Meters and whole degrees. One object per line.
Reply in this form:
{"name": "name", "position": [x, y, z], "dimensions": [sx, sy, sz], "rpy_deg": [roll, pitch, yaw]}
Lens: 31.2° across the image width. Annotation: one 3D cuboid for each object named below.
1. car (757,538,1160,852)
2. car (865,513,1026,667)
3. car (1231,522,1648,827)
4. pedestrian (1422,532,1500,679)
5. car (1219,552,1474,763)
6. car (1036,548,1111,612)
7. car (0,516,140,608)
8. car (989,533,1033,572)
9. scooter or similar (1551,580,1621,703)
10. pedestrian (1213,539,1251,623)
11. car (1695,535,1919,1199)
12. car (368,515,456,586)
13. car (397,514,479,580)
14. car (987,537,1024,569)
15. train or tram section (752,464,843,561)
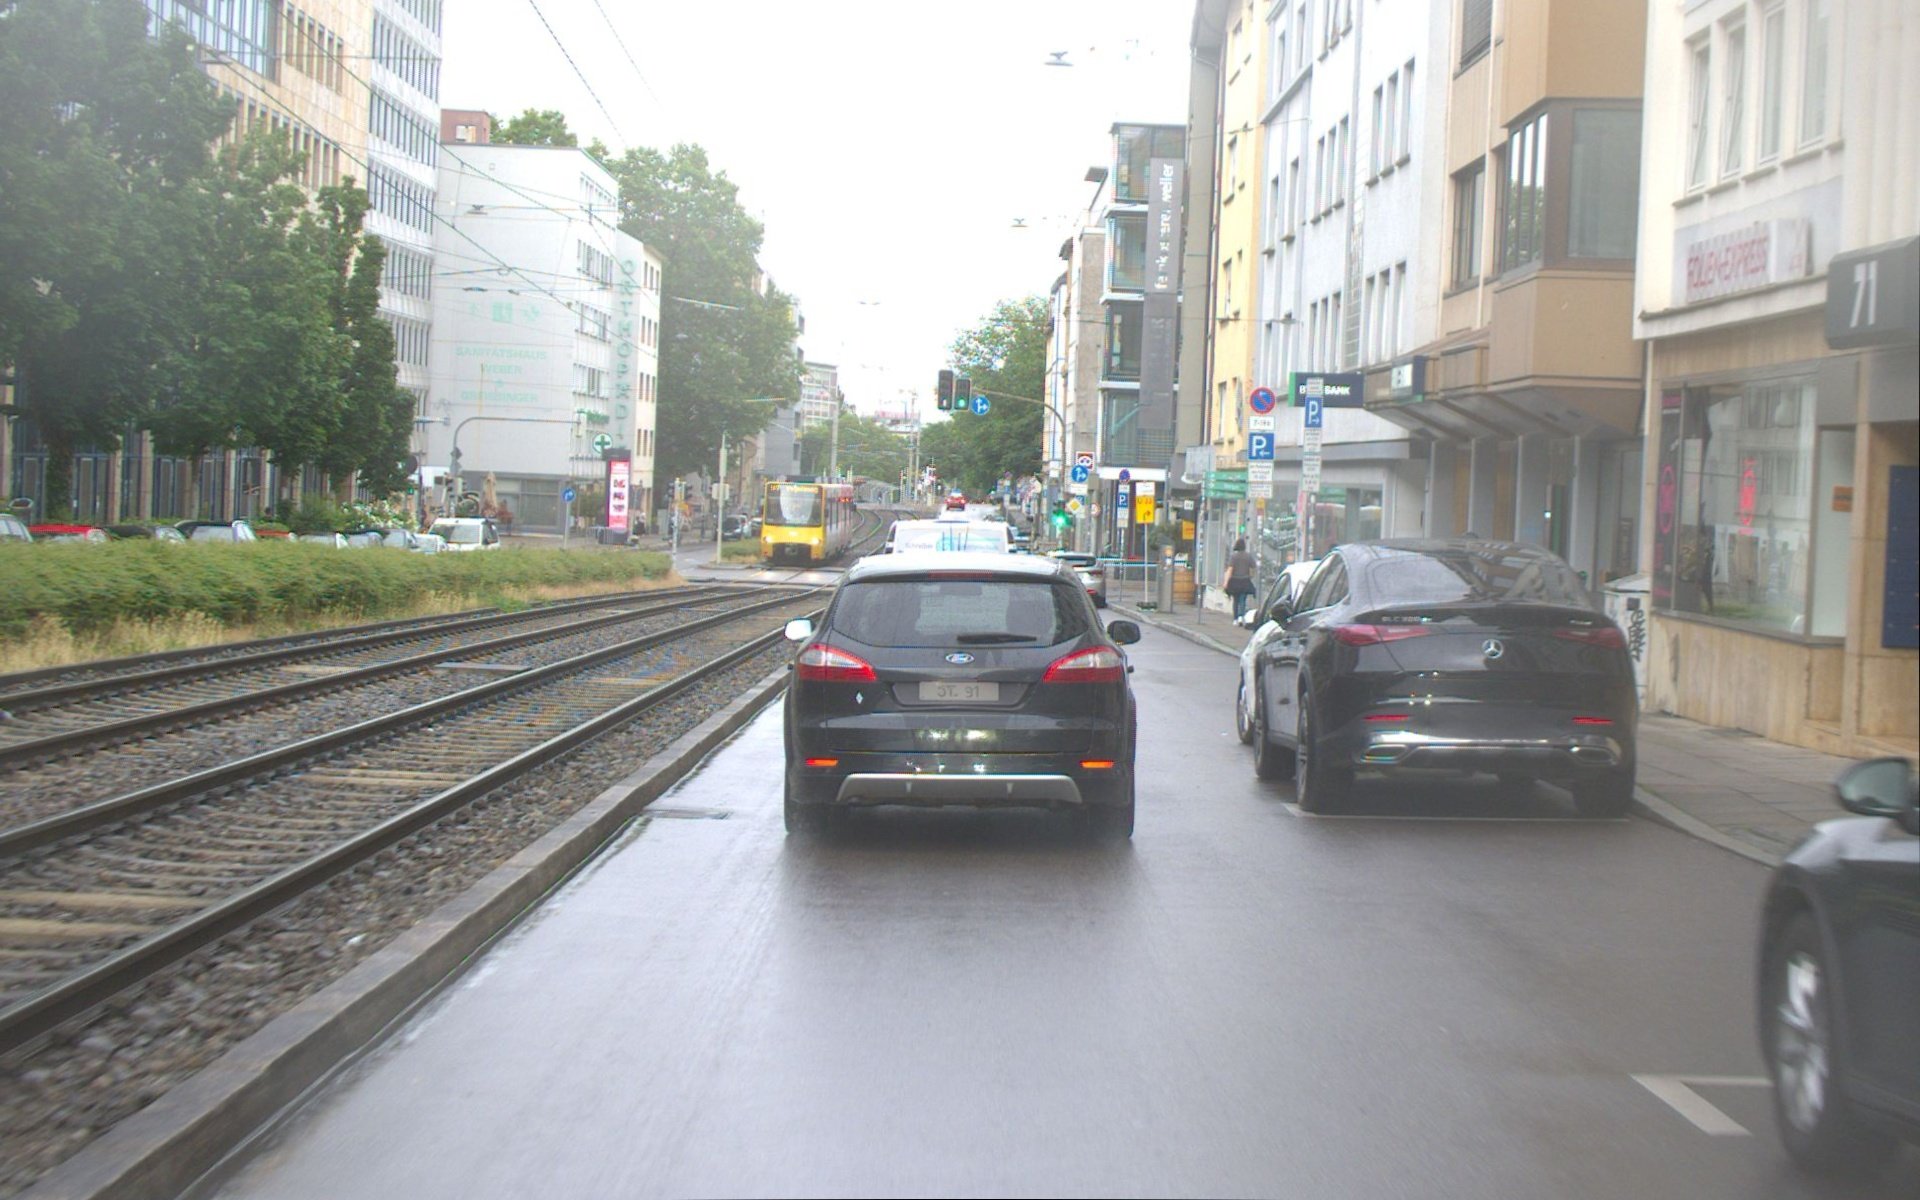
{"name": "car", "position": [0.003, 0.455, 18.406], "dimensions": [1.906, 1.457, 3.445], "rpy_deg": [2, 0, 0]}
{"name": "car", "position": [-0.139, -0.132, 45.247], "dimensions": [1.906, 1.858, 4.573], "rpy_deg": [2, 0, 2]}
{"name": "car", "position": [2.842, 0.376, 21.520], "dimensions": [1.807, 1.626, 5.169], "rpy_deg": [2, 1, 0]}
{"name": "pedestrian", "position": [5.726, 0.055, 39.311], "dimensions": [0.695, 1.646, 0.966], "rpy_deg": [2, 1, -1]}
{"name": "car", "position": [2.920, 0.390, 26.561], "dimensions": [1.557, 1.471, 3.565], "rpy_deg": [2, 1, 1]}
{"name": "car", "position": [3.043, -0.532, 92.925], "dimensions": [1.906, 1.628, 4.573], "rpy_deg": [2, 0, 1]}
{"name": "car", "position": [-14.924, -0.643, 57.536], "dimensions": [1.568, 1.431, 4.178], "rpy_deg": [2, 1, -3]}
{"name": "car", "position": [2.285, -2.121, 154.983], "dimensions": [1.906, 1.628, 4.573], "rpy_deg": [2, 0, 1]}
{"name": "scooter or similar", "position": [5.714, 0.367, 31.421], "dimensions": [0.209, 1.079, 1.234], "rpy_deg": [2, 1, -8]}
{"name": "pedestrian", "position": [5.032, -0.349, 63.639], "dimensions": [0.611, 1.532, 0.649], "rpy_deg": [2, 1, -1]}
{"name": "car", "position": [2.944, 0.626, 6.799], "dimensions": [1.774, 1.463, 4.610], "rpy_deg": [2, 1, -2]}
{"name": "car", "position": [-15.206, -1.345, 95.558], "dimensions": [1.906, 1.858, 4.574], "rpy_deg": [2, 0, -3]}
{"name": "car", "position": [-15.494, -1.558, 102.272], "dimensions": [1.906, 1.858, 4.574], "rpy_deg": [2, 0, -3]}
{"name": "car", "position": [2.482, -2.530, 186.670], "dimensions": [1.906, 1.628, 4.573], "rpy_deg": [2, 0, 1]}
{"name": "train or tram section", "position": [-6.736, -3.573, 142.882], "dimensions": [3.512, 3.764, 11.333], "rpy_deg": [2, 1, -3]}
